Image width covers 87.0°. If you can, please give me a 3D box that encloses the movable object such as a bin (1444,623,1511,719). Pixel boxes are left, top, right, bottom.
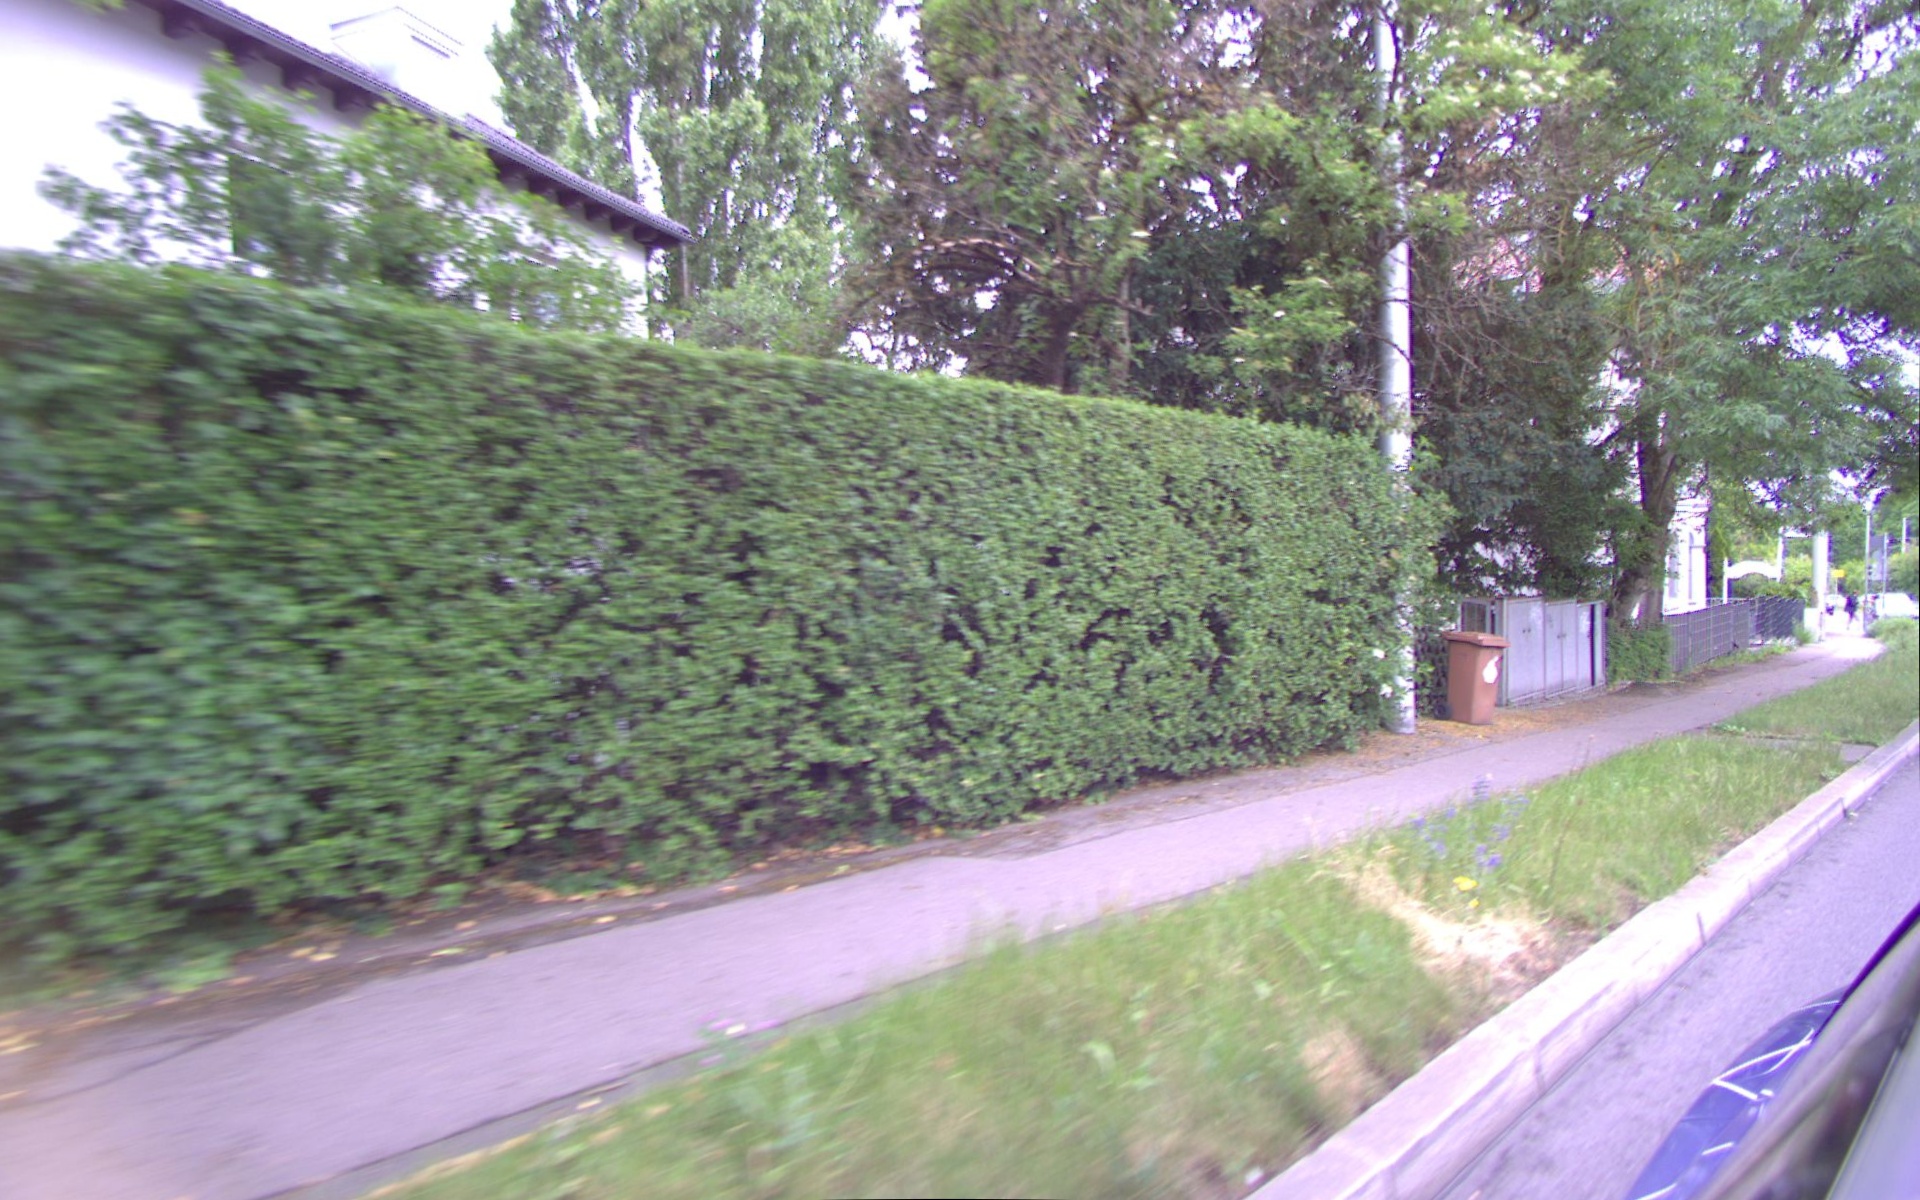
[{"bbox_3d":[5.292,0.711,10.347,0.446,0.922,0.474,0,1,-41],"label":"movable object such as a bin"}]

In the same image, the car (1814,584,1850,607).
[{"bbox_3d":[66.065,-0.341,76.643,1.992,1.677,4.369,1,1,42],"label":"car"}]

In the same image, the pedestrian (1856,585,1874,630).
[{"bbox_3d":[37.872,0.292,42.361,0.485,1.858,0.513,0,1,-42],"label":"pedestrian"}]

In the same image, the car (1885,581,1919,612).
[{"bbox_3d":[50.510,-0.200,53.806,1.668,1.551,3.945,1,1,38],"label":"car"}]
